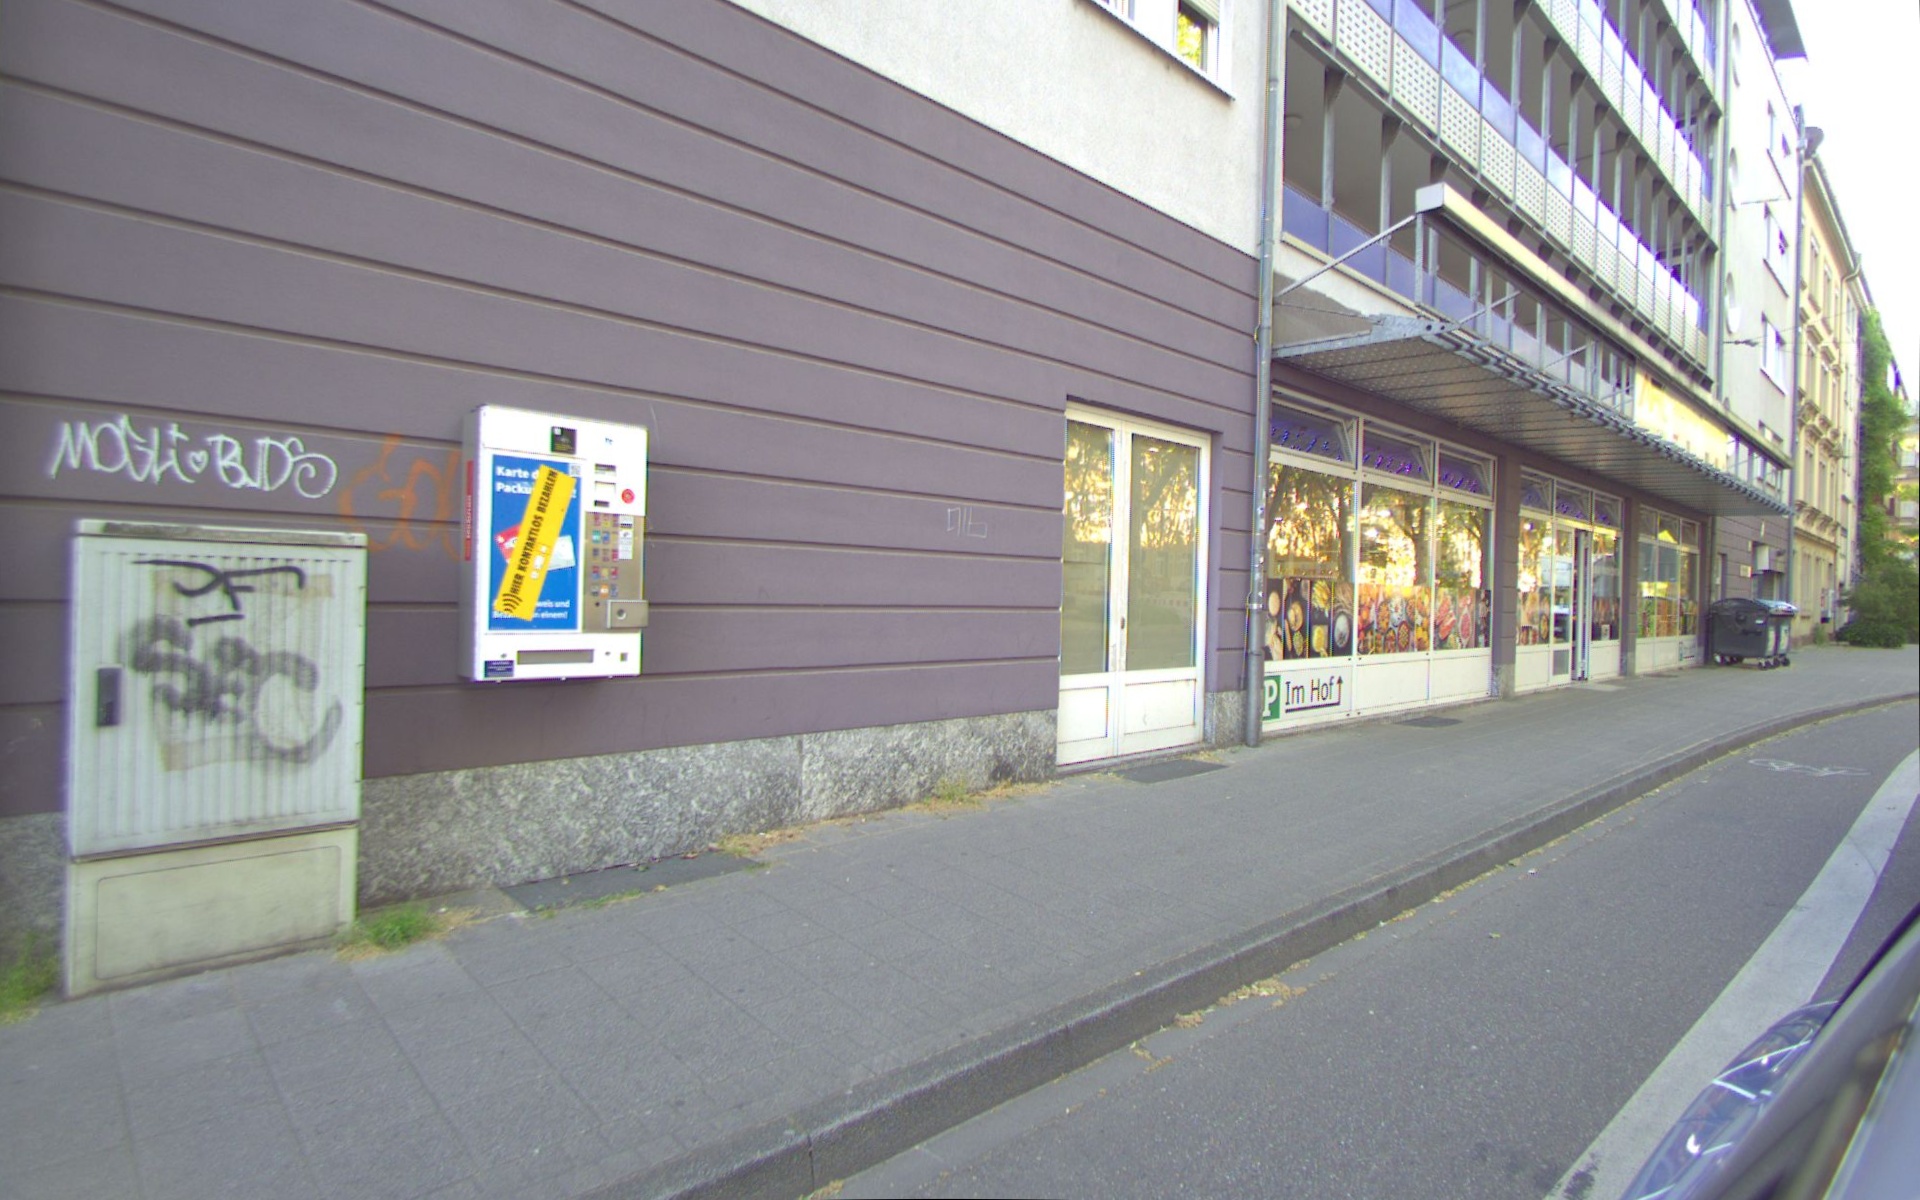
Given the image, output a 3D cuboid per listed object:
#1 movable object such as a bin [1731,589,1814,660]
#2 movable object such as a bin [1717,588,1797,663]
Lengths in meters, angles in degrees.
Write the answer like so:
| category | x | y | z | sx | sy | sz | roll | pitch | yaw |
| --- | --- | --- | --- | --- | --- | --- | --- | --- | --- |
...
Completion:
| category | x | y | z | sx | sy | sz | roll | pitch | yaw |
| --- | --- | --- | --- | --- | --- | --- | --- | --- | --- |
| movable object such as a bin | 17.792 | 0.517 | 22.169 | 1.282 | 1.464 | 1.123 | 1 | 1 | -38 |
| movable object such as a bin | 16.443 | 0.497 | 20.881 | 1.274 | 1.465 | 1.068 | 1 | 1 | -42 |
